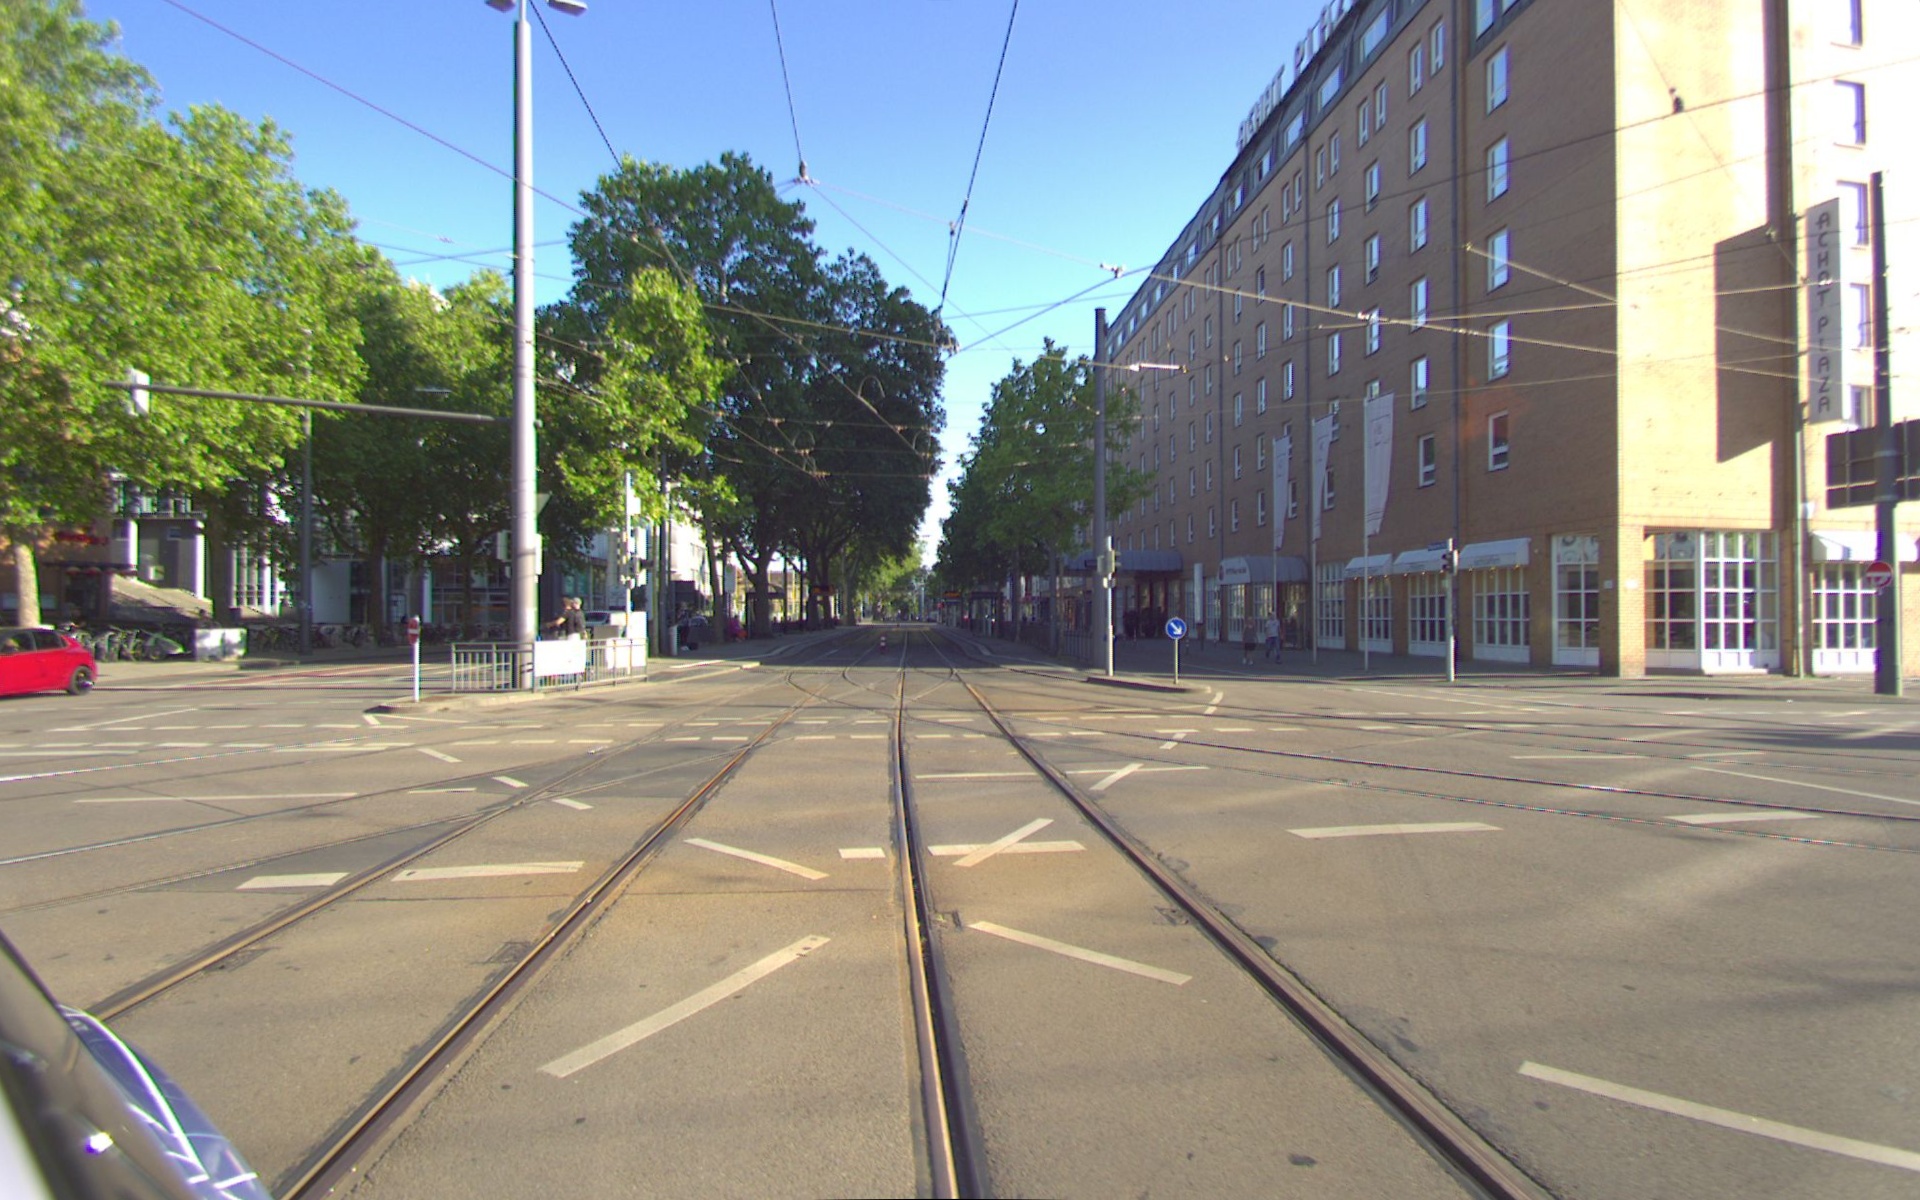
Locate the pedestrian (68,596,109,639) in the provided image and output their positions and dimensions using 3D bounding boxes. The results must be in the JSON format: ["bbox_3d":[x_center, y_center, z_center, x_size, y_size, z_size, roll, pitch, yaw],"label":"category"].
[{"bbox_3d":[-31.871,0.638,37.032,0.754,1.554,0.877,0,-1,-8],"label":"pedestrian"}]

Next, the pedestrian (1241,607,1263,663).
[{"bbox_3d":[10.104,1.198,35.036,0.640,1.909,0.743,0,-1,9],"label":"pedestrian"}]

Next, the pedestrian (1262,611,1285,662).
[{"bbox_3d":[10.879,1.273,35.105,0.640,1.756,0.703,-1,-1,9],"label":"pedestrian"}]

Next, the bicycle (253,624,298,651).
[{"bbox_3d":[-28.310,1.533,41.876,0.570,1.072,1.947,0,-1,-2],"label":"bicycle"}]

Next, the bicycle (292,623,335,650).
[{"bbox_3d":[-26.719,1.504,41.844,0.570,1.072,1.947,0,-1,-2],"label":"bicycle"}]

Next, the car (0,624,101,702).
[{"bbox_3d":[-18.808,1.193,19.378,1.666,1.439,4.006,-1,-1,-7],"label":"car"}]

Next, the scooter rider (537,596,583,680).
[{"bbox_3d":[-8.925,0.847,22.595,0.753,1.847,0.588,0,-1,3],"label":"scooter rider"}]

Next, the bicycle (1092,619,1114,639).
[{"bbox_3d":[7.507,1.520,53.075,0.604,1.026,2.157,0,-1,-7],"label":"bicycle"}]

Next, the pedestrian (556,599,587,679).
[{"bbox_3d":[-8.957,0.888,23.359,0.560,1.810,0.674,0,-1,-13],"label":"pedestrian"}]

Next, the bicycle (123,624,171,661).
[{"bbox_3d":[-28.074,1.444,34.922,3.558,1.198,0.772,-1,-2,43],"label":"bicycle"}]

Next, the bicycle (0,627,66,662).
[{"bbox_3d":[-29.616,1.401,32.143,0.772,1.072,1.947,0,-1,-2],"label":"bicycle"}]

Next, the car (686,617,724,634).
[{"bbox_3d":[-21.752,2.155,86.507,1.674,1.439,3.986,-1,-1,11],"label":"car"}]

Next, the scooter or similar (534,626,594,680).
[{"bbox_3d":[-8.832,1.173,22.584,1.145,1.188,0.455,0,-1,3],"label":"scooter or similar"}]

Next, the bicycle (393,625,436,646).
[{"bbox_3d":[-28.289,1.820,52.475,1.920,1.072,0.578,0,-1,2],"label":"bicycle"}]

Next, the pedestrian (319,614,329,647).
[{"bbox_3d":[-30.608,1.459,48.721,0.403,1.567,0.449,1,-1,-32],"label":"pedestrian"}]

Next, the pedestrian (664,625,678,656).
[{"bbox_3d":[-9.671,1.341,33.822,0.399,1.040,0.379,0,-1,-9],"label":"pedestrian"}]

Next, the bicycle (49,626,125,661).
[{"bbox_3d":[-27.609,1.365,32.054,0.772,1.072,1.947,0,-1,-2],"label":"bicycle"}]

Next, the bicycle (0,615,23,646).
[{"bbox_3d":[-33.882,1.066,35.032,0.692,1.075,1.998,0,-1,24],"label":"bicycle"}]

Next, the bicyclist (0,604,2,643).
[{"bbox_3d":[-33.891,0.811,34.980,0.671,1.355,0.951,0,-1,25],"label":"bicyclist"}]

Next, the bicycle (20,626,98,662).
[{"bbox_3d":[-28.494,1.381,32.049,0.772,1.072,1.947,0,-1,-2],"label":"bicycle"}]

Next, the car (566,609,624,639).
[{"bbox_3d":[-24.801,1.608,68.972,1.947,1.960,4.959,-1,-1,4],"label":"car"}]

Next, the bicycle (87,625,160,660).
[{"bbox_3d":[-26.635,1.351,32.263,0.772,1.072,1.947,0,-1,-2],"label":"bicycle"}]

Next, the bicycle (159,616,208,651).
[{"bbox_3d":[-27.647,1.162,35.990,3.558,1.198,0.772,-1,-2,43],"label":"bicycle"}]

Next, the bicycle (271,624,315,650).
[{"bbox_3d":[-27.530,1.518,41.789,0.570,1.072,1.947,0,-1,-2],"label":"bicycle"}]
